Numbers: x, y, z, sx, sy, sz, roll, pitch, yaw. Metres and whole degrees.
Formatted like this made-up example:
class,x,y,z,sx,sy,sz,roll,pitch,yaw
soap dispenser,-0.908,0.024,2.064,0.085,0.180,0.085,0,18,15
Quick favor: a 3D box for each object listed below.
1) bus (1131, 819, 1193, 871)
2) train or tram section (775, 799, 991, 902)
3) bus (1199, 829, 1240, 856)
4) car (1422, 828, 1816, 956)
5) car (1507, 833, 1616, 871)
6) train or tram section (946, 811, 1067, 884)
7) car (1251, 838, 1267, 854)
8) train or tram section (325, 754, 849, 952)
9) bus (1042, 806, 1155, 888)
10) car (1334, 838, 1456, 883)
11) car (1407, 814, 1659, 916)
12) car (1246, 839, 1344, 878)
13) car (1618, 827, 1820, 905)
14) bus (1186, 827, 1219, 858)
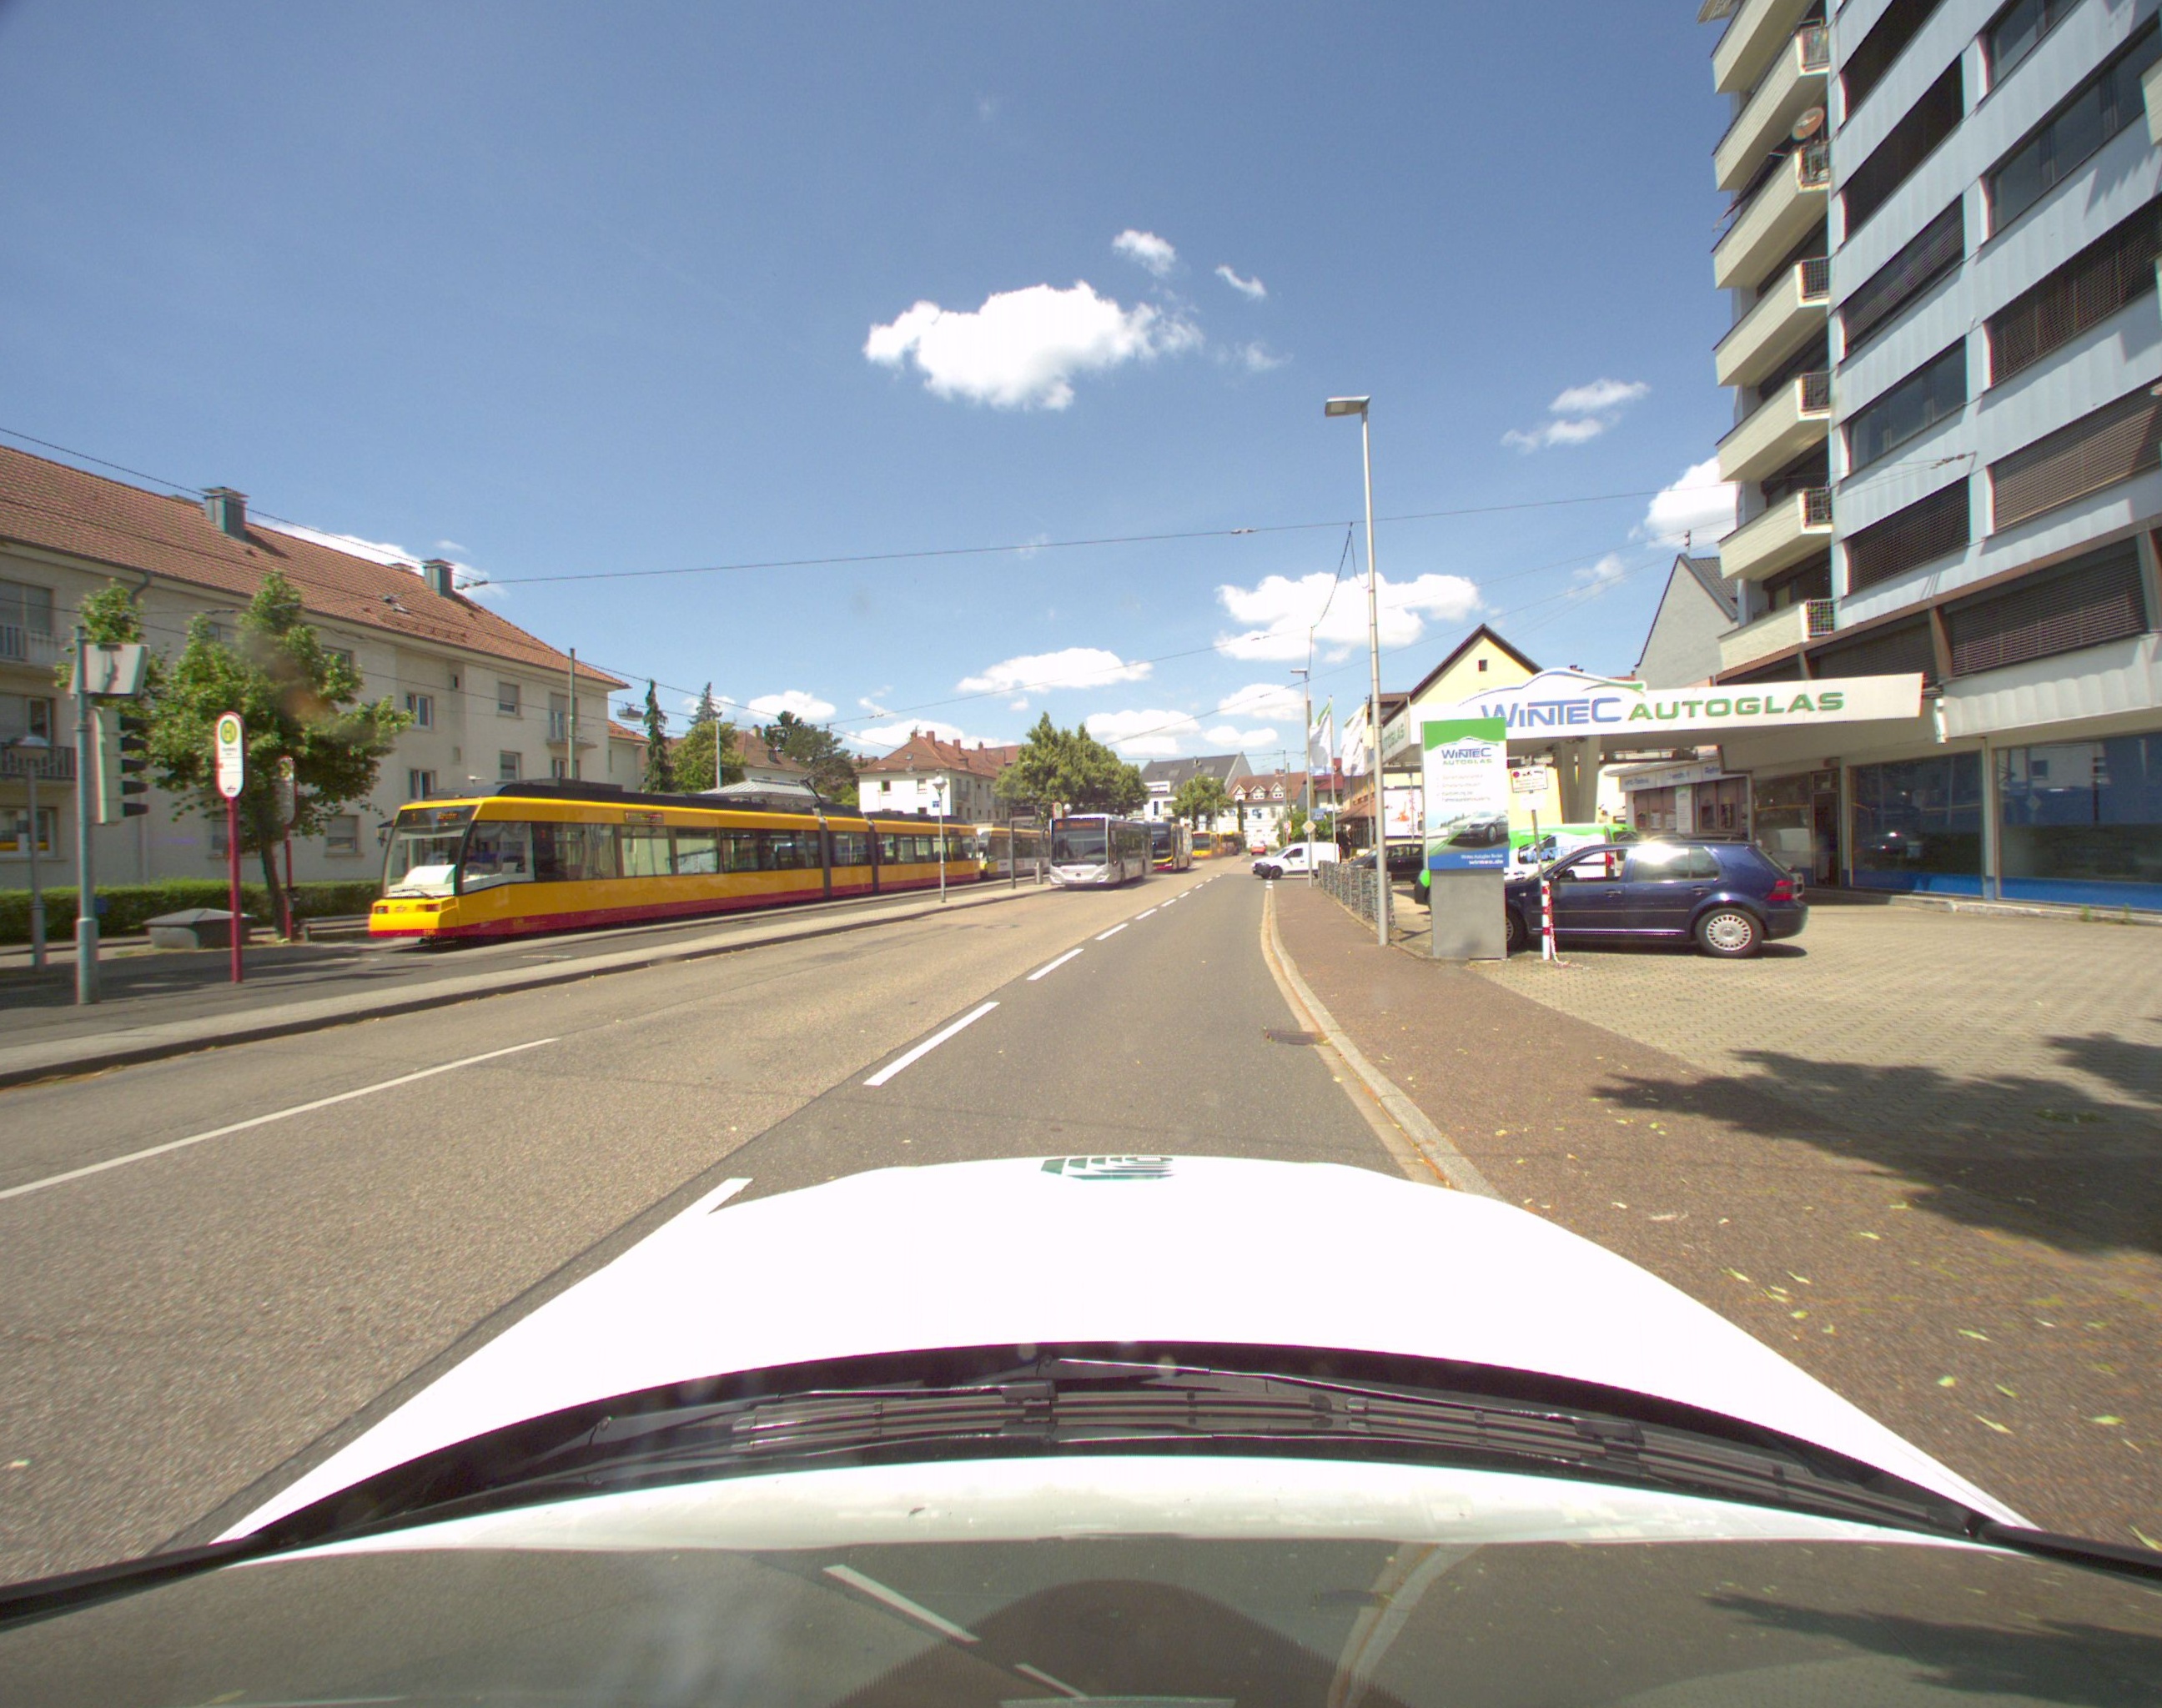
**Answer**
class,x,y,z,sx,sy,sz,roll,pitch,yaw
bus,5.854,-0.590,56.549,2.711,3.129,12.051,-1,0,13
train or tram section,-7.855,-0.176,36.029,2.765,3.568,14.759,-1,0,13
bus,17.797,-1.480,104.163,2.610,3.218,9.997,-1,0,24
car,7.076,0.474,11.089,4.118,1.439,1.914,-2,0,35
car,23.829,-0.111,40.558,4.279,1.809,2.005,-1,2,8
train or tram section,-4.181,-0.403,51.705,2.765,3.895,15.608,-1,0,13
car,23.818,-1.076,108.865,1.794,1.981,4.017,-1,0,16
train or tram section,-11.185,-0.045,21.940,2.790,3.568,14.232,-1,0,13
bus,1.193,-0.311,37.655,2.711,3.129,12.051,-1,0,13
car,11.911,0.252,31.047,3.915,1.518,1.823,-2,0,1
car,8.935,0.215,16.396,1.850,1.794,3.981,-2,0,-36
car,10.673,0.194,40.779,4.299,1.809,1.996,-1,2,-6
car,14.595,0.254,19.008,1.994,1.596,4.303,-1,0,12
bus,13.795,-1.285,91.616,2.711,3.218,11.088,-1,0,13
